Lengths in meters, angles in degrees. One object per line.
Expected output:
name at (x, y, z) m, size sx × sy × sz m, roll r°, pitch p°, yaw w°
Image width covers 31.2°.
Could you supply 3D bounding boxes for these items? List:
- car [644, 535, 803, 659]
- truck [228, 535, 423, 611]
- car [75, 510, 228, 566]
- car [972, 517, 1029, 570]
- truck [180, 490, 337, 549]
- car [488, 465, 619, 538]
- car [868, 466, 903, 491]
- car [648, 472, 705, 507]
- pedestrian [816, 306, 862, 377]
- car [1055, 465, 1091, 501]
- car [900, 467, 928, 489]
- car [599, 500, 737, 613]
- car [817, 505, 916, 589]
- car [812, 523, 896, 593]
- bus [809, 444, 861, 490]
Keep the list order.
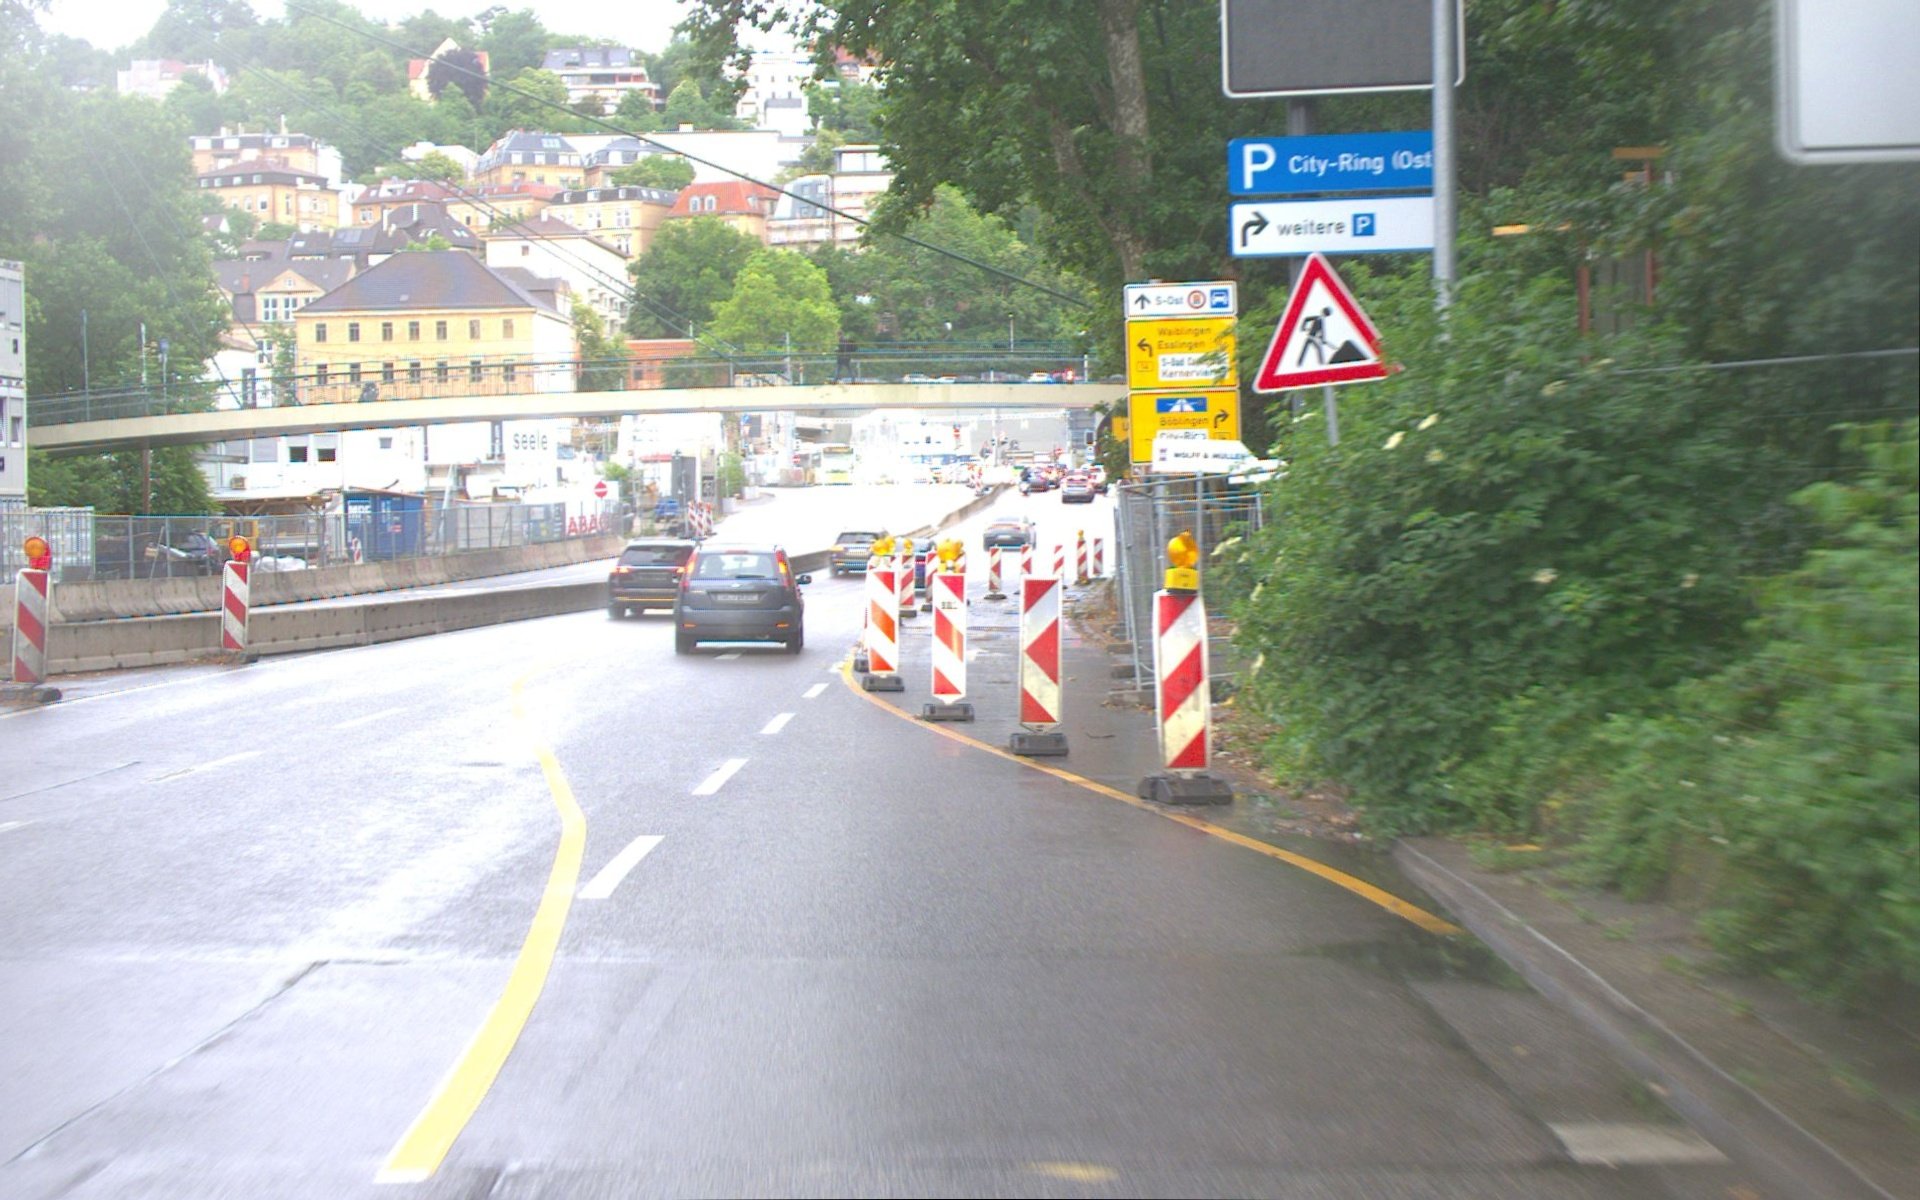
car at (-3.183, -0.077, 45.643) m, size 1.812 × 1.521 × 4.001 m, roll -2°, pitch 1°, yaw -7°
truck at (-21.910, -0.951, 118.930) m, size 6.276 × 2.444 × 2.694 m, roll -2°, pitch 1°, yaw -3°
car at (-25.501, -1.974, 108.499) m, size 4.422 × 1.622 × 1.960 m, roll -2°, pitch 2°, yaw -5°
car at (1.597, -2.219, 135.046) m, size 2.051 × 2.007 × 4.000 m, roll -1°, pitch 1°, yaw 3°
truck at (-25.751, -2.961, 126.301) m, size 5.247 × 2.006 × 2.164 m, roll -2°, pitch 2°, yaw 0°
car at (-16.643, -4.052, 141.083) m, size 1.997 × 2.865 × 6.042 m, roll -1°, pitch 1°, yaw 31°
car at (-5.206, -8.496, 240.377) m, size 2.082 × 1.625 × 4.853 m, roll -1°, pitch 3°, yaw 3°
car at (-14.198, -5.552, 172.291) m, size 1.994 × 1.616 × 4.000 m, roll -1°, pitch 4°, yaw 7°
pedestrian at (-3.689, -7.864, 104.754) m, size 1.148 × 2.053 × 1.059 m, roll -1°, pitch 1°, yaw 12°
car at (6.354, -6.554, 192.960) m, size 1.993 × 1.863 × 4.000 m, roll -1°, pitch 1°, yaw 2°
car at (-3.432, -9.037, 254.932) m, size 1.709 × 1.484 × 3.450 m, roll -1°, pitch 1°, yaw 5°
car at (-5.462, -0.839, 64.725) m, size 2.017 × 2.007 × 4.000 m, roll -1°, pitch 1°, yaw 3°
car at (-2.354, -1.364, 87.631) m, size 2.105 × 2.043 × 4.000 m, roll -1°, pitch 1°, yaw 4°
car at (-3.190, -1.293, 104.276) m, size 1.994 × 2.007 × 3.999 m, roll -1°, pitch 1°, yaw 6°
bus at (-8.876, -9.471, 244.920) m, size 2.806 × 3.173 × 8.807 m, roll -1°, pitch 2°, yaw 3°
